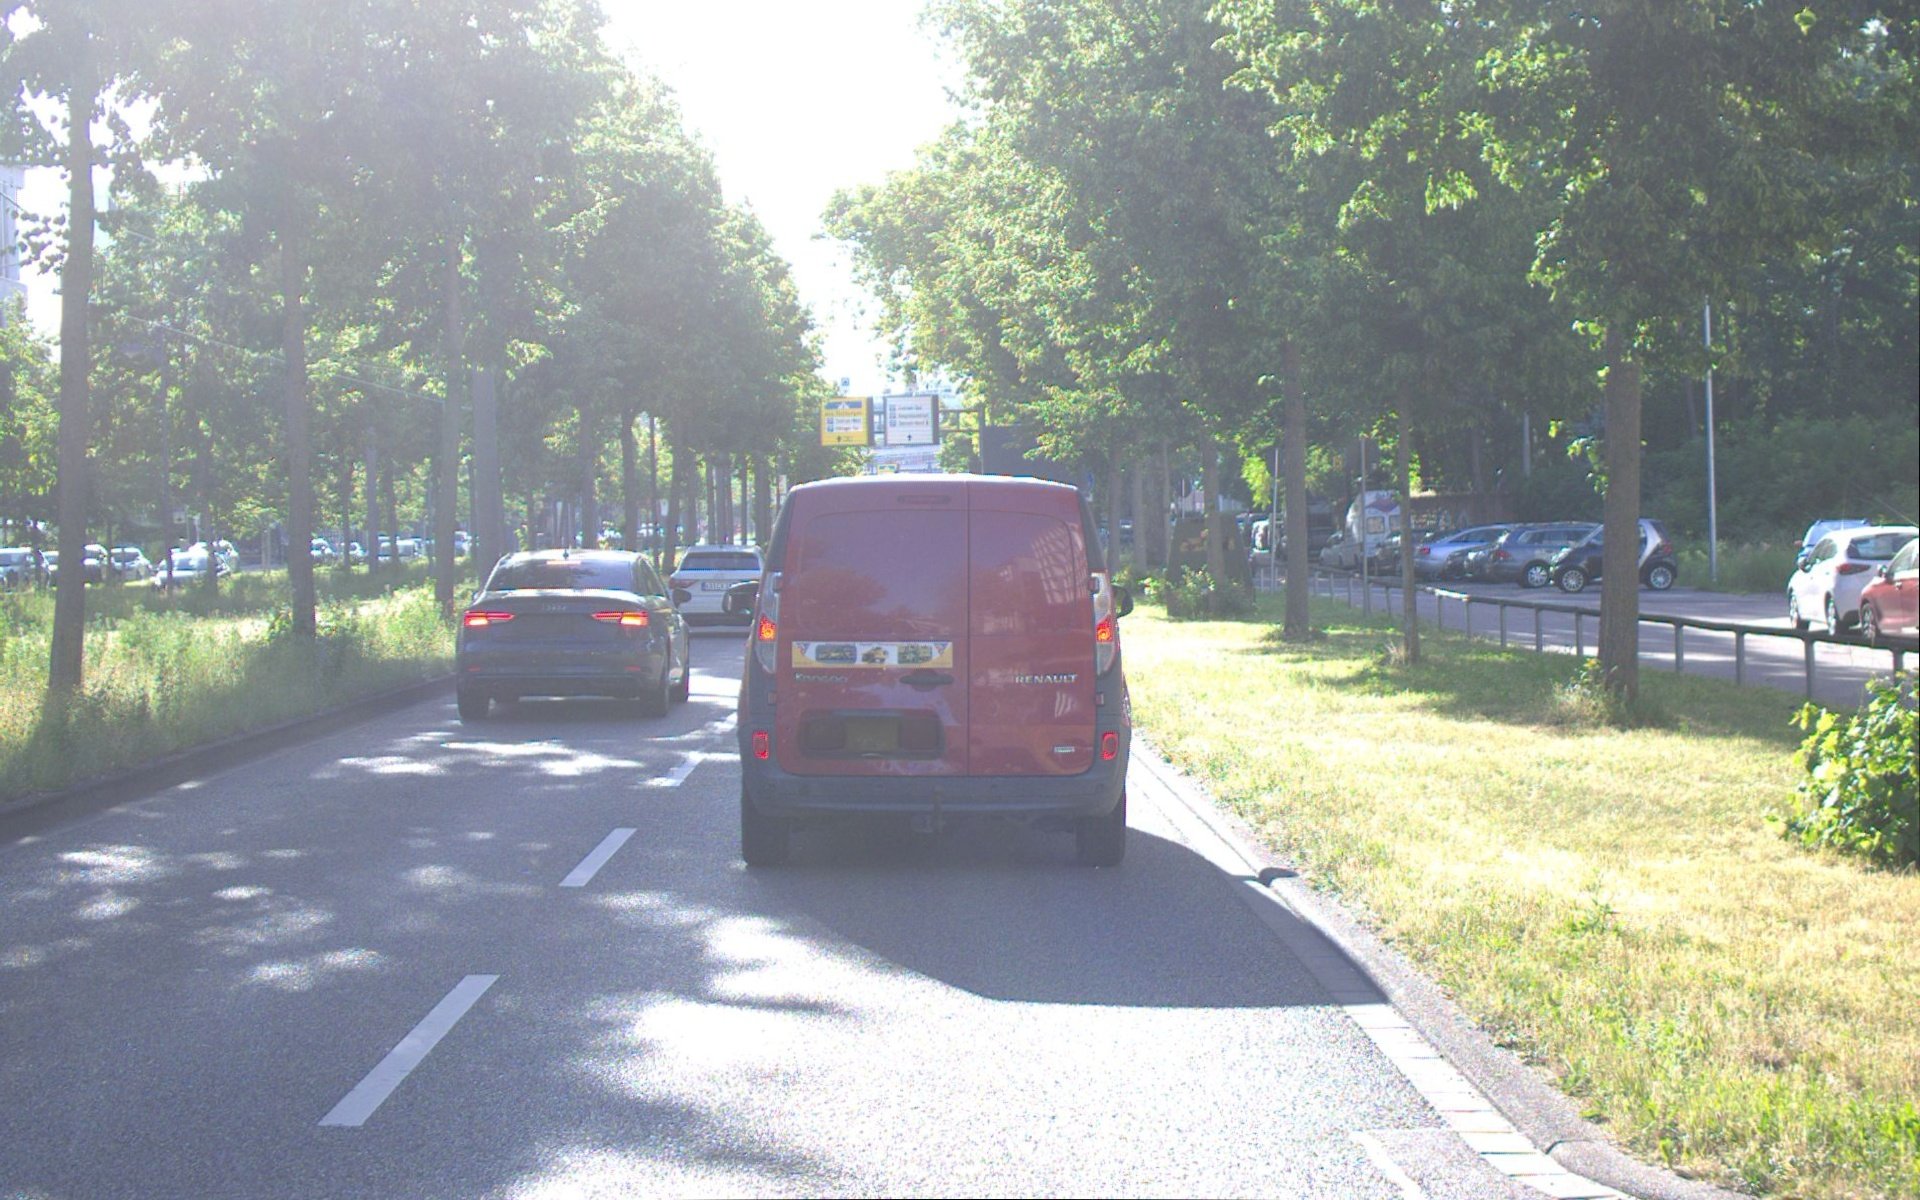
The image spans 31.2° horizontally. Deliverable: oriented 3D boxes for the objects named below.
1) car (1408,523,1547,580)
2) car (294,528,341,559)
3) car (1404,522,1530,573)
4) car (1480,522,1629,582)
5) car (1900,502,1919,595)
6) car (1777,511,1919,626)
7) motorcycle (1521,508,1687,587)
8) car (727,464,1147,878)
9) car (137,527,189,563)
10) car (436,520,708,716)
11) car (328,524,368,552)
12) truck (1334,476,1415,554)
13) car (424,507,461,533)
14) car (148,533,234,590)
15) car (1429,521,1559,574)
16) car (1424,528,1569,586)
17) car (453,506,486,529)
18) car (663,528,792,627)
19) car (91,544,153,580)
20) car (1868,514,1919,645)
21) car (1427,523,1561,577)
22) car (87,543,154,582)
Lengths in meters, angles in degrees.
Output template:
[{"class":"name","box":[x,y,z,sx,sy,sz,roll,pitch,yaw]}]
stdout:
[{"class":"car","box":[13.065,-1.239,86.963,3.399,1.354,1.470,-1,1,6]},{"class":"car","box":[-33.809,-2.981,180.872,1.755,1.568,4.000,-1,1,-1]},{"class":"car","box":[14.173,-1.475,96.259,3.399,1.354,1.470,-1,1,6]},{"class":"car","box":[14.196,-1.150,82.177,3.399,1.354,1.470,-1,1,6]},{"class":"car","box":[19.782,-1.004,66.802,1.993,1.809,4.000,0,1,1]},{"class":"car","box":[12.668,-0.467,48.034,1.819,1.527,3.437,-1,1,3]},{"class":"motorcycle","box":[13.984,-1.146,74.767,3.399,1.657,1.470,-1,1,6]},{"class":"car","box":[-0.143,0.232,16.931,1.808,1.788,4.113,0,2,-1]},{"class":"car","box":[-40.222,-2.782,173.616,1.732,1.766,4.000,-1,1,-1]},{"class":"car","box":[-3.283,0.099,29.831,1.808,1.522,4.113,-1,2,1]},{"class":"car","box":[-34.604,-3.521,194.362,1.602,1.551,4.000,-1,1,-1]},{"class":"truck","box":[13.684,-2.795,113.845,1.831,2.492,5.933,-1,1,-1]},{"class":"car","box":[-32.385,-5.011,215.204,1.755,1.568,4.000,-1,1,-1]},{"class":"car","box":[-21.259,-1.081,95.098,1.580,1.503,3.712,-1,1,-1]},{"class":"car","box":[14.468,-1.431,93.317,3.399,1.354,1.470,-1,1,6]},{"class":"car","box":[13.110,-1.058,84.127,3.399,1.354,1.470,-1,1,6]},{"class":"car","box":[-33.459,-5.643,234.670,1.755,1.568,4.000,-1,1,-1]},{"class":"car","box":[-3.600,-0.377,53.858,1.808,1.429,4.113,-1,2,-1]},{"class":"car","box":[-33.146,-1.525,136.063,1.580,1.337,3.712,-1,1,-1]},{"class":"car","box":[12.724,-0.271,42.954,1.758,1.606,3.903,-1,2,1]},{"class":"car","box":[14.050,-1.322,90.572,3.399,1.354,1.470,-1,1,6]},{"class":"car","box":[-30.578,-1.378,125.289,1.580,1.337,3.712,-1,1,-1]}]
